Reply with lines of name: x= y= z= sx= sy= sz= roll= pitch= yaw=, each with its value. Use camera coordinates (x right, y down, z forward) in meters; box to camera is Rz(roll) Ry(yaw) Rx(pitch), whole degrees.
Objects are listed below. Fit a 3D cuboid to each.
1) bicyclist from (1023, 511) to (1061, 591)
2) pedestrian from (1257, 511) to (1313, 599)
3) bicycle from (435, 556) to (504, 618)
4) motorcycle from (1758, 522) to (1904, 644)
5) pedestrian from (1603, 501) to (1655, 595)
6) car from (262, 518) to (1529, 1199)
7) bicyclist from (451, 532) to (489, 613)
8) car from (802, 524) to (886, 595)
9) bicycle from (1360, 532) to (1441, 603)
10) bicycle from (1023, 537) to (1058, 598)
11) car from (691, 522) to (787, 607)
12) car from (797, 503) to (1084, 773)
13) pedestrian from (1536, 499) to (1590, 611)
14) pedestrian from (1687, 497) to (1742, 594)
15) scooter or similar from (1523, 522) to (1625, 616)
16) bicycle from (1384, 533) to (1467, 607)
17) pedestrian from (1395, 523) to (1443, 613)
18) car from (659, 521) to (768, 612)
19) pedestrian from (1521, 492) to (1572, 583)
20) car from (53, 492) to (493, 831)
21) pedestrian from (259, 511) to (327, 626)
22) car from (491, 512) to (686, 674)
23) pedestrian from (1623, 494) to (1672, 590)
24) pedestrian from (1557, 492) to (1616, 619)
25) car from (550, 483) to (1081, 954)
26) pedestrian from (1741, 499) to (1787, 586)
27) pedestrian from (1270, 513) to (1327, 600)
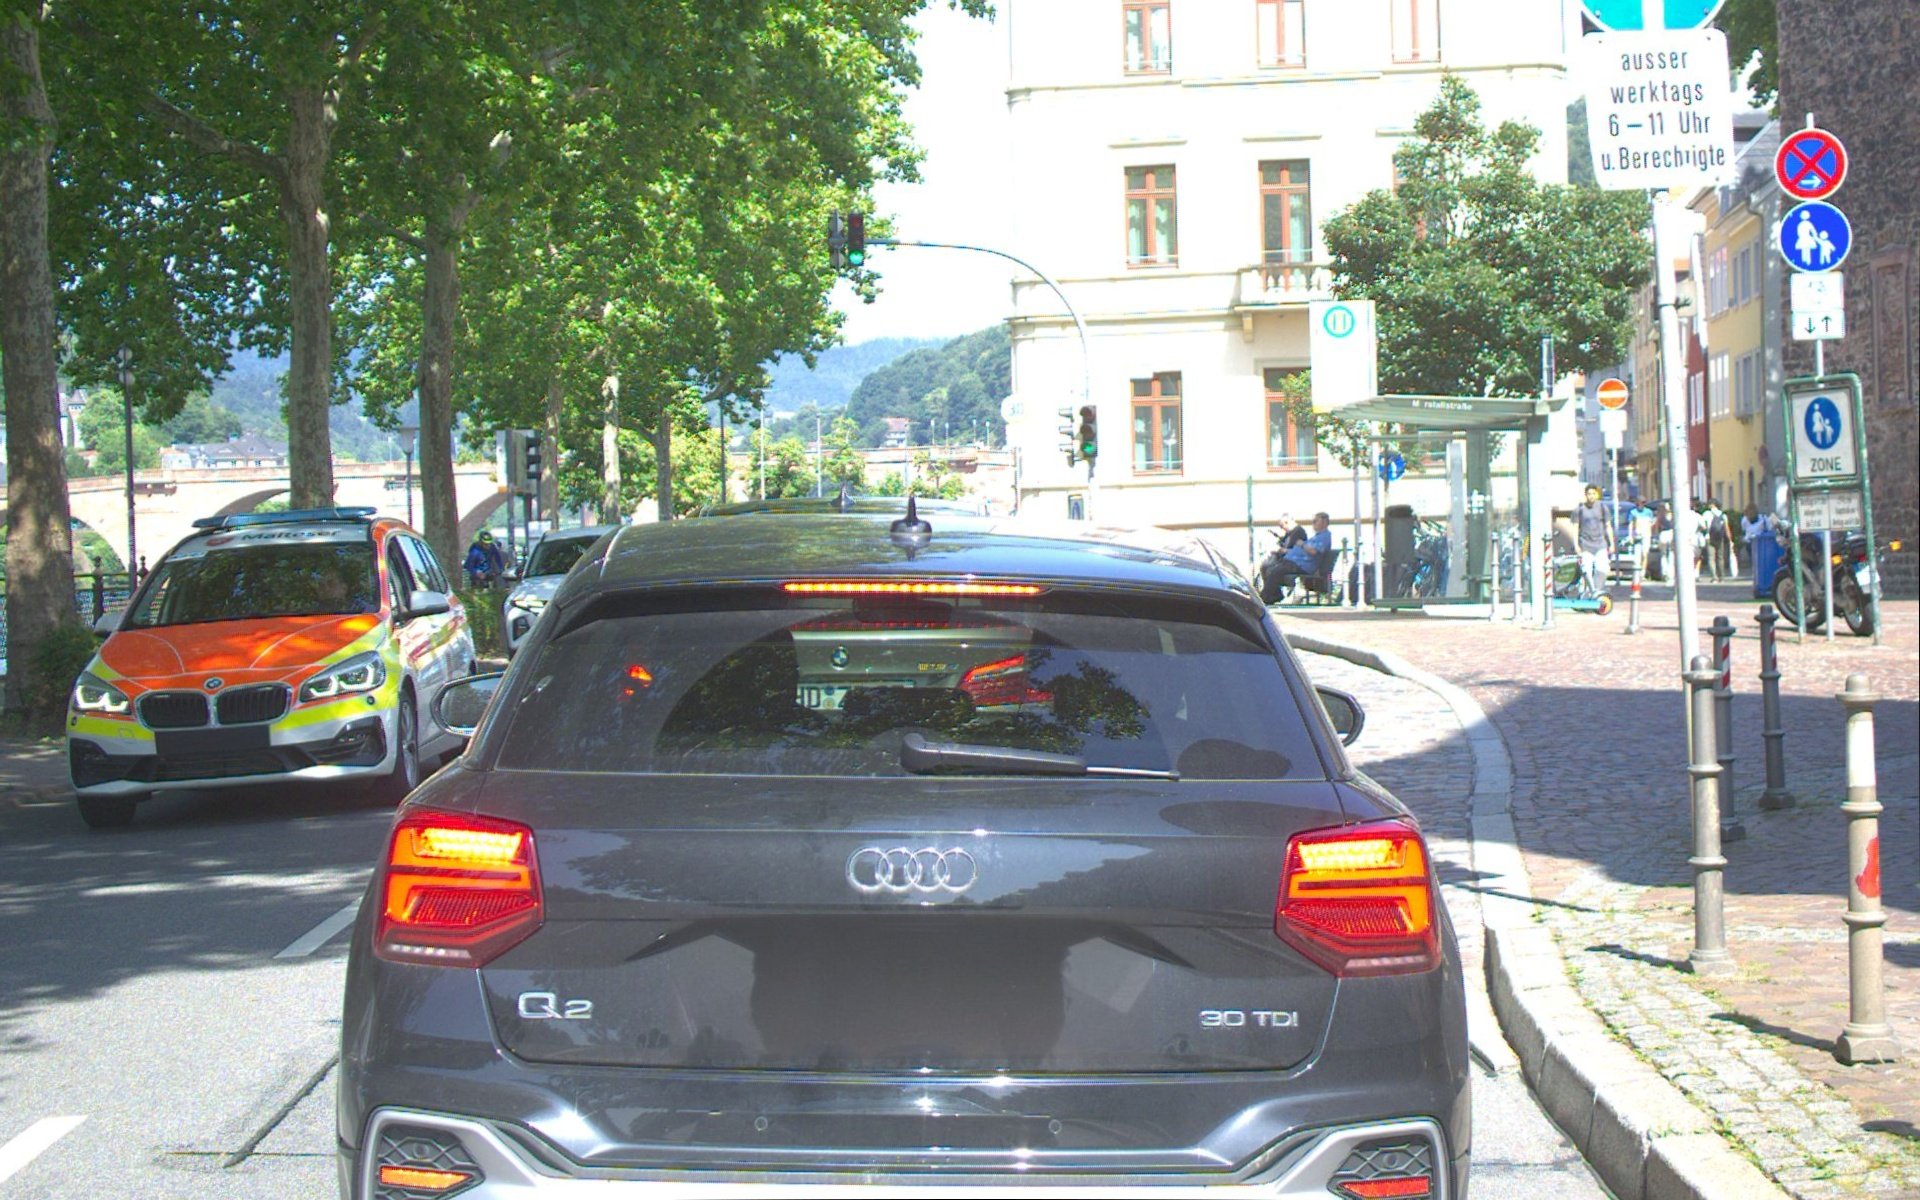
bicyclist: x=1.486 y=-0.889 z=62.443 sx=0.605 sy=1.445 sz=0.591 roll=1 pitch=0 yaw=-5
pedestrian: x=4.616 y=-0.639 z=48.854 sx=0.663 sy=1.227 sz=0.641 roll=1 pitch=0 yaw=-6
bicycle: x=-7.949 y=-0.209 z=55.718 sx=1.093 sy=1.003 sz=0.304 roll=0 pitch=0 yaw=-7
motorcycle: x=7.599 y=-0.172 z=30.107 sx=0.566 sy=1.009 sz=2.490 roll=-1 pitch=1 yaw=-2
pedestrian: x=14.378 y=-1.120 z=73.901 sx=0.944 sy=2.007 sz=0.807 roll=1 pitch=0 yaw=0
car: x=-0.116 y=0.611 z=6.596 sx=1.743 sy=1.504 sz=3.647 roll=1 pitch=1 yaw=-1
bicyclist: x=-7.945 y=-0.446 z=55.772 sx=0.566 sy=1.307 sz=0.552 roll=1 pitch=0 yaw=-5
car: x=-3.035 y=-1.059 z=90.524 sx=1.993 sy=1.800 sz=4.000 roll=1 pitch=0 yaw=1
bicycle: x=6.349 y=-0.471 z=49.551 sx=1.184 sy=1.012 sz=0.179 roll=1 pitch=0 yaw=-19
bicycle: x=1.462 y=-0.587 z=62.564 sx=0.437 sy=1.082 sz=1.677 roll=1 pitch=0 yaw=-5
car: x=-5.105 y=-0.849 z=79.945 sx=1.813 sy=1.719 sz=4.422 roll=-6 pitch=1 yaw=0
car: x=-0.136 y=0.187 z=22.342 sx=1.710 sy=1.603 sz=3.655 roll=0 pitch=1 yaw=-1
pedestrian: x=7.497 y=-0.556 z=42.755 sx=0.557 sy=1.380 sz=0.588 roll=1 pitch=0 yaw=2
pedestrian: x=15.766 y=-1.141 z=71.861 sx=0.940 sy=2.007 sz=0.807 roll=1 pitch=0 yaw=0
scooter or similar: x=7.033 y=-0.357 z=39.403 sx=1.088 sy=1.062 sz=0.323 roll=1 pitch=0 yaw=-2
bicycle: x=6.630 y=-0.427 z=48.932 sx=1.201 sy=1.031 sz=0.179 roll=1 pitch=0 yaw=-19
pedestrian: x=7.695 y=-0.532 z=57.675 sx=0.693 sy=1.495 sz=0.514 roll=1 pitch=0 yaw=-4
car: x=-4.717 y=-0.676 z=66.320 sx=1.738 sy=1.566 sz=4.092 roll=-4 pitch=1 yaw=0
pedestrian: x=10.663 y=-1.144 z=62.506 sx=0.776 sy=1.616 sz=0.645 roll=-2 pitch=1 yaw=2
car: x=-3.852 y=0.274 z=19.950 sx=1.673 sy=1.654 sz=4.223 roll=-4 pitch=1 yaw=-1
pedestrian: x=-10.655 y=-0.504 z=54.916 sx=0.911 sy=1.805 sz=0.585 roll=1 pitch=-1 yaw=4
car: x=-4.164 y=-0.119 z=39.054 sx=1.769 sy=1.654 sz=4.000 roll=-3 pitch=1 yaw=-1
pedestrian: x=14.468 y=-1.212 z=72.365 sx=0.839 sy=2.007 sz=0.738 roll=1 pitch=0 yaw=0
pedestrian: x=9.437 y=-0.672 z=51.826 sx=0.747 sy=1.884 sz=0.752 roll=1 pitch=0 yaw=2
car: x=-0.515 y=0.369 z=13.476 sx=1.793 sy=1.589 sz=3.399 roll=1 pitch=1 yaw=-1
pedestrian: x=15.354 y=-1.101 z=65.659 sx=0.691 sy=1.607 sz=0.890 roll=-2 pitch=1 yaw=20
pedestrian: x=4.728 y=-0.604 z=48.002 sx=0.663 sy=1.207 sz=0.641 roll=1 pitch=0 yaw=-6
